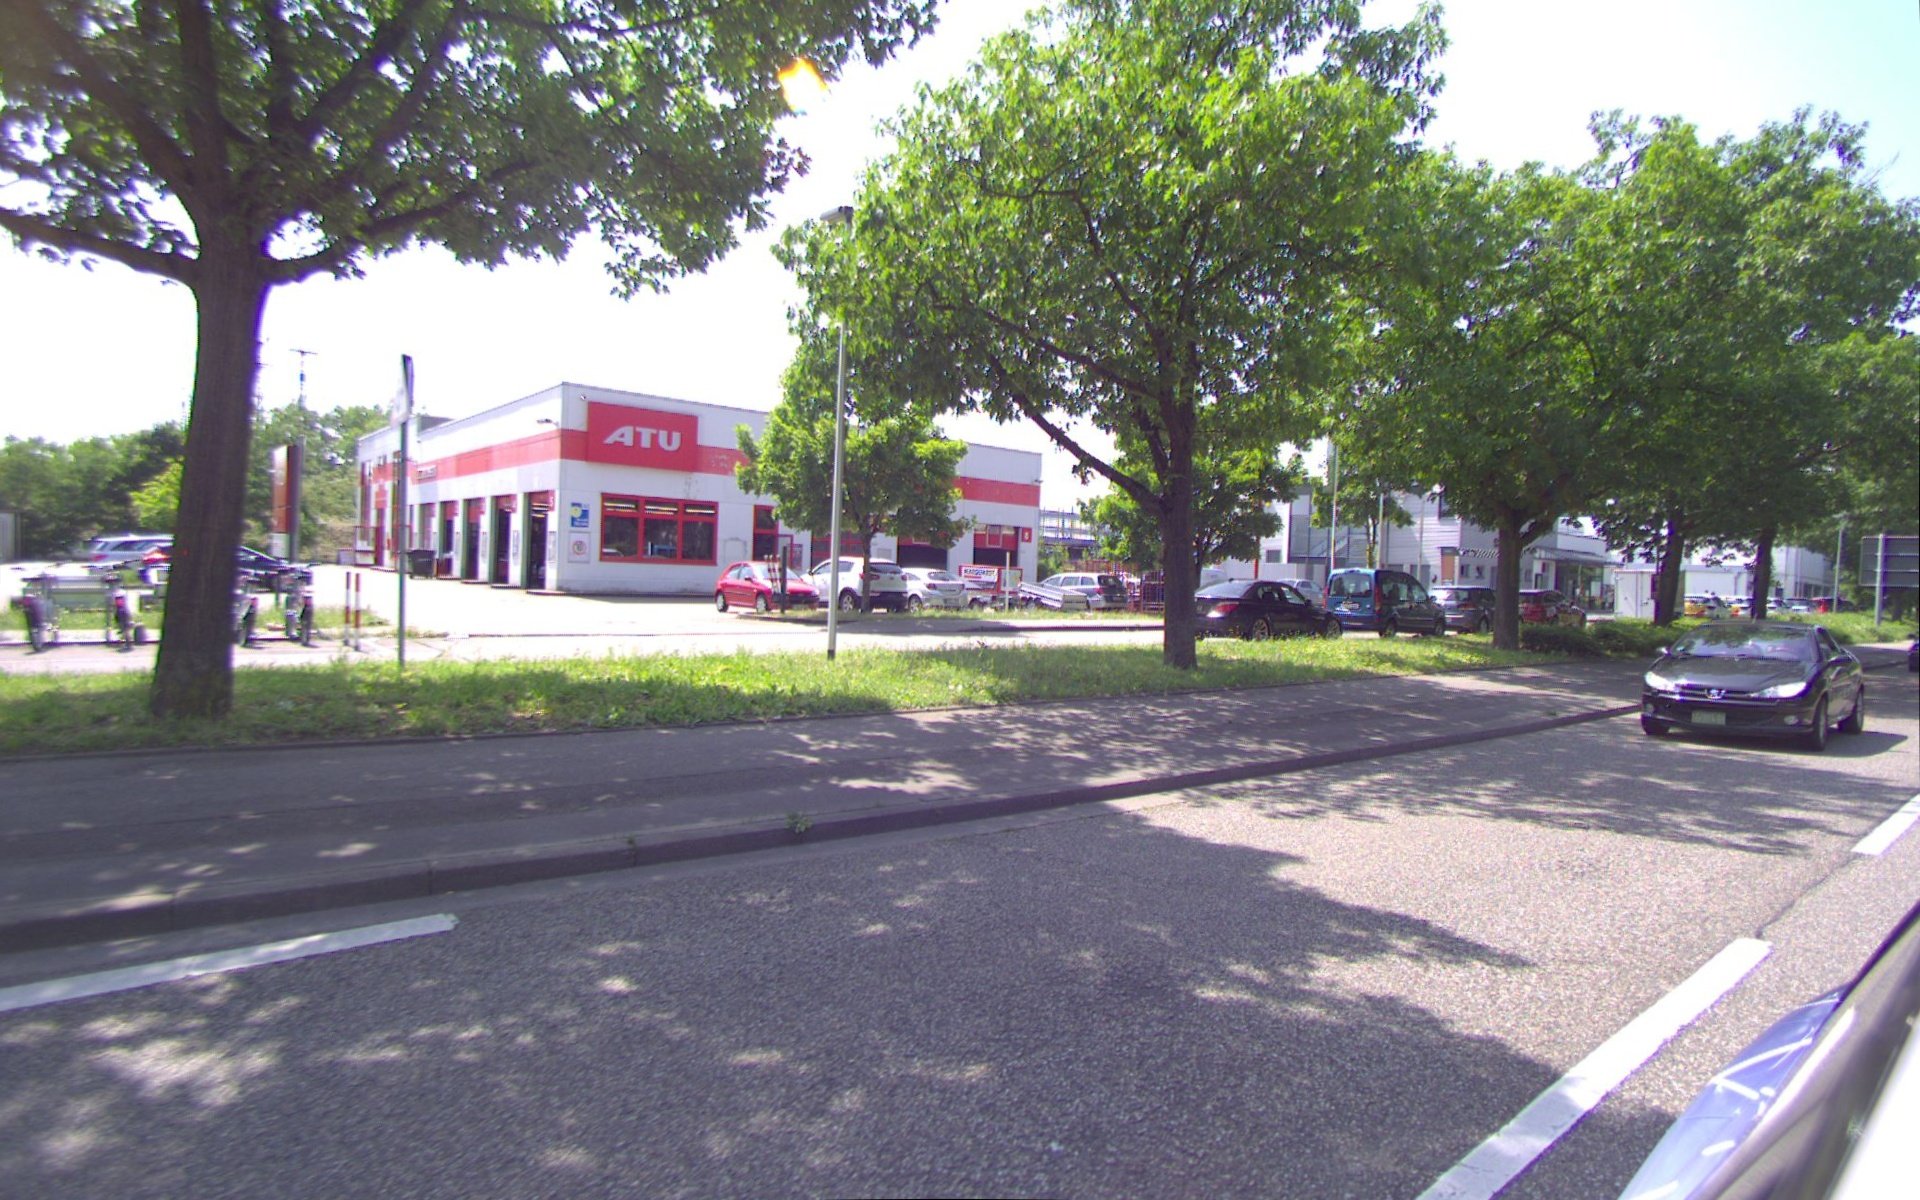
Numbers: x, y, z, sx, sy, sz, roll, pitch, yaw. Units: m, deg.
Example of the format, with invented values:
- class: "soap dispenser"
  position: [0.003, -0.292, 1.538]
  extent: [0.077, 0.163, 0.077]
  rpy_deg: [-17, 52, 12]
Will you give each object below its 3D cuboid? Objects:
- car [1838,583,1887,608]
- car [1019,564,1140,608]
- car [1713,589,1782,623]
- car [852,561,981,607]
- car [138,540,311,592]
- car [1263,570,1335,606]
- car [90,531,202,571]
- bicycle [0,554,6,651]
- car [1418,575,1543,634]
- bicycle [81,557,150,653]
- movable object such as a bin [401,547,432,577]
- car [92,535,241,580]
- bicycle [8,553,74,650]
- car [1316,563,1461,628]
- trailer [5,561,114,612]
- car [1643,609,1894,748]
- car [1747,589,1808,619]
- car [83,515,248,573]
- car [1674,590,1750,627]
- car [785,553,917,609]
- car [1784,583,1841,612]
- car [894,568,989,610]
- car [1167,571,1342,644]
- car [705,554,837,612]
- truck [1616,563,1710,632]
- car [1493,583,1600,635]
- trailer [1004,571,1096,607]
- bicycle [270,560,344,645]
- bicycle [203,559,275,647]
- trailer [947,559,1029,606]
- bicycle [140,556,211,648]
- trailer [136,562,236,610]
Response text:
- class: "car"
  position: [58.065, -0.259, 65.082]
  extent: [3.928, 1.485, 1.720]
  rpy_deg: [1, 2, -40]
- class: "car"
  position: [4.072, -0.509, 34.907]
  extent: [1.661, 1.317, 3.993]
  rpy_deg: [1, 2, -42]
- class: "car"
  position: [37.337, 0.294, 47.963]
  extent: [3.928, 1.485, 1.720]
  rpy_deg: [1, 2, -40]
- class: "car"
  position: [-1.385, -0.502, 30.541]
  extent: [1.717, 1.222, 3.993]
  rpy_deg: [1, 2, -42]
- class: "car"
  position: [-21.885, -0.996, 30.186]
  extent: [4.072, 1.389, 1.717]
  rpy_deg: [0, 2, -41]
- class: "car"
  position: [16.170, -0.563, 48.228]
  extent: [1.754, 1.615, 3.938]
  rpy_deg: [4, 2, 43]
- class: "car"
  position: [-37.329, -2.238, 46.484]
  extent: [3.930, 1.626, 1.710]
  rpy_deg: [1, 2, -41]
- class: "bicycle"
  position: [-12.312, -0.001, 12.632]
  extent: [1.780, 1.138, 0.506]
  rpy_deg: [4, 2, 44]
- class: "car"
  position: [14.958, 0.126, 29.004]
  extent: [3.928, 1.539, 1.720]
  rpy_deg: [1, 2, -40]
- class: "bicycle"
  position: [-11.061, 0.032, 13.229]
  extent: [1.780, 1.138, 0.506]
  rpy_deg: [4, 2, 44]
- class: "movable object such as a bin"
  position: [-24.001, -1.675, 44.701]
  extent: [1.047, 1.274, 1.003]
  rpy_deg: [1, 2, -36]
- class: "car"
  position: [-27.111, -1.432, 34.637]
  extent: [3.930, 1.389, 1.725]
  rpy_deg: [1, 2, -41]
- class: "bicycle"
  position: [-11.789, -0.010, 12.965]
  extent: [1.780, 1.138, 0.506]
  rpy_deg: [4, 2, 44]
- class: "car"
  position: [10.910, -0.115, 25.649]
  extent: [3.928, 1.485, 1.720]
  rpy_deg: [1, 2, -40]
- class: "trailer"
  position: [-15.451, -0.241, 17.439]
  extent: [1.244, 0.770, 2.138]
  rpy_deg: [1, 2, -38]
- class: "car"
  position: [9.723, 0.811, 12.073]
  extent: [3.929, 1.361, 1.641]
  rpy_deg: [1, 0, -41]
- class: "car"
  position: [43.024, 0.206, 53.233]
  extent: [3.928, 1.485, 1.720]
  rpy_deg: [1, 2, -40]
- class: "car"
  position: [-25.488, -1.767, 32.558]
  extent: [4.072, 1.683, 1.717]
  rpy_deg: [0, 2, -41]
- class: "car"
  position: [32.688, 0.358, 43.946]
  extent: [3.928, 1.485, 1.720]
  rpy_deg: [1, 2, -40]
- class: "car"
  position: [-3.183, -0.578, 29.058]
  extent: [1.717, 1.419, 3.993]
  rpy_deg: [1, 2, -42]
- class: "car"
  position: [47.825, -0.126, 56.781]
  extent: [3.928, 1.485, 1.720]
  rpy_deg: [1, 2, -40]
- class: "car"
  position: [-0.665, -0.383, 33.696]
  extent: [1.422, 1.223, 3.215]
  rpy_deg: [1, 2, -41]
- class: "car"
  position: [6.386, 0.154, 21.755]
  extent: [3.928, 1.388, 1.642]
  rpy_deg: [1, 2, -40]
- class: "car"
  position: [-5.259, -0.494, 27.854]
  extent: [1.717, 1.419, 3.994]
  rpy_deg: [1, 2, -42]
- class: "truck"
  position: [28.034, -0.095, 40.330]
  extent: [3.927, 2.598, 1.905]
  rpy_deg: [1, 2, -38]
- class: "car"
  position: [19.172, 0.290, 33.046]
  extent: [3.928, 1.532, 1.720]
  rpy_deg: [1, 2, -40]
- class: "trailer"
  position: [2.922, -0.368, 33.073]
  extent: [1.551, 1.065, 2.640]
  rpy_deg: [1, 2, -42]
- class: "bicycle"
  position: [-9.559, 0.007, 14.793]
  extent: [1.780, 1.138, 0.506]
  rpy_deg: [4, 2, 44]
- class: "bicycle"
  position: [-10.159, 0.013, 14.237]
  extent: [1.780, 1.138, 0.506]
  rpy_deg: [4, 2, 44]
- class: "trailer"
  position: [0.940, -0.621, 35.303]
  extent: [1.391, 1.546, 2.640]
  rpy_deg: [1, 2, -42]
- class: "bicycle"
  position: [-10.649, -0.007, 13.718]
  extent: [1.780, 1.138, 0.506]
  rpy_deg: [4, 2, 44]
- class: "trailer"
  position: [-14.038, -0.258, 18.366]
  extent: [1.368, 0.770, 2.138]
  rpy_deg: [1, 2, -38]
